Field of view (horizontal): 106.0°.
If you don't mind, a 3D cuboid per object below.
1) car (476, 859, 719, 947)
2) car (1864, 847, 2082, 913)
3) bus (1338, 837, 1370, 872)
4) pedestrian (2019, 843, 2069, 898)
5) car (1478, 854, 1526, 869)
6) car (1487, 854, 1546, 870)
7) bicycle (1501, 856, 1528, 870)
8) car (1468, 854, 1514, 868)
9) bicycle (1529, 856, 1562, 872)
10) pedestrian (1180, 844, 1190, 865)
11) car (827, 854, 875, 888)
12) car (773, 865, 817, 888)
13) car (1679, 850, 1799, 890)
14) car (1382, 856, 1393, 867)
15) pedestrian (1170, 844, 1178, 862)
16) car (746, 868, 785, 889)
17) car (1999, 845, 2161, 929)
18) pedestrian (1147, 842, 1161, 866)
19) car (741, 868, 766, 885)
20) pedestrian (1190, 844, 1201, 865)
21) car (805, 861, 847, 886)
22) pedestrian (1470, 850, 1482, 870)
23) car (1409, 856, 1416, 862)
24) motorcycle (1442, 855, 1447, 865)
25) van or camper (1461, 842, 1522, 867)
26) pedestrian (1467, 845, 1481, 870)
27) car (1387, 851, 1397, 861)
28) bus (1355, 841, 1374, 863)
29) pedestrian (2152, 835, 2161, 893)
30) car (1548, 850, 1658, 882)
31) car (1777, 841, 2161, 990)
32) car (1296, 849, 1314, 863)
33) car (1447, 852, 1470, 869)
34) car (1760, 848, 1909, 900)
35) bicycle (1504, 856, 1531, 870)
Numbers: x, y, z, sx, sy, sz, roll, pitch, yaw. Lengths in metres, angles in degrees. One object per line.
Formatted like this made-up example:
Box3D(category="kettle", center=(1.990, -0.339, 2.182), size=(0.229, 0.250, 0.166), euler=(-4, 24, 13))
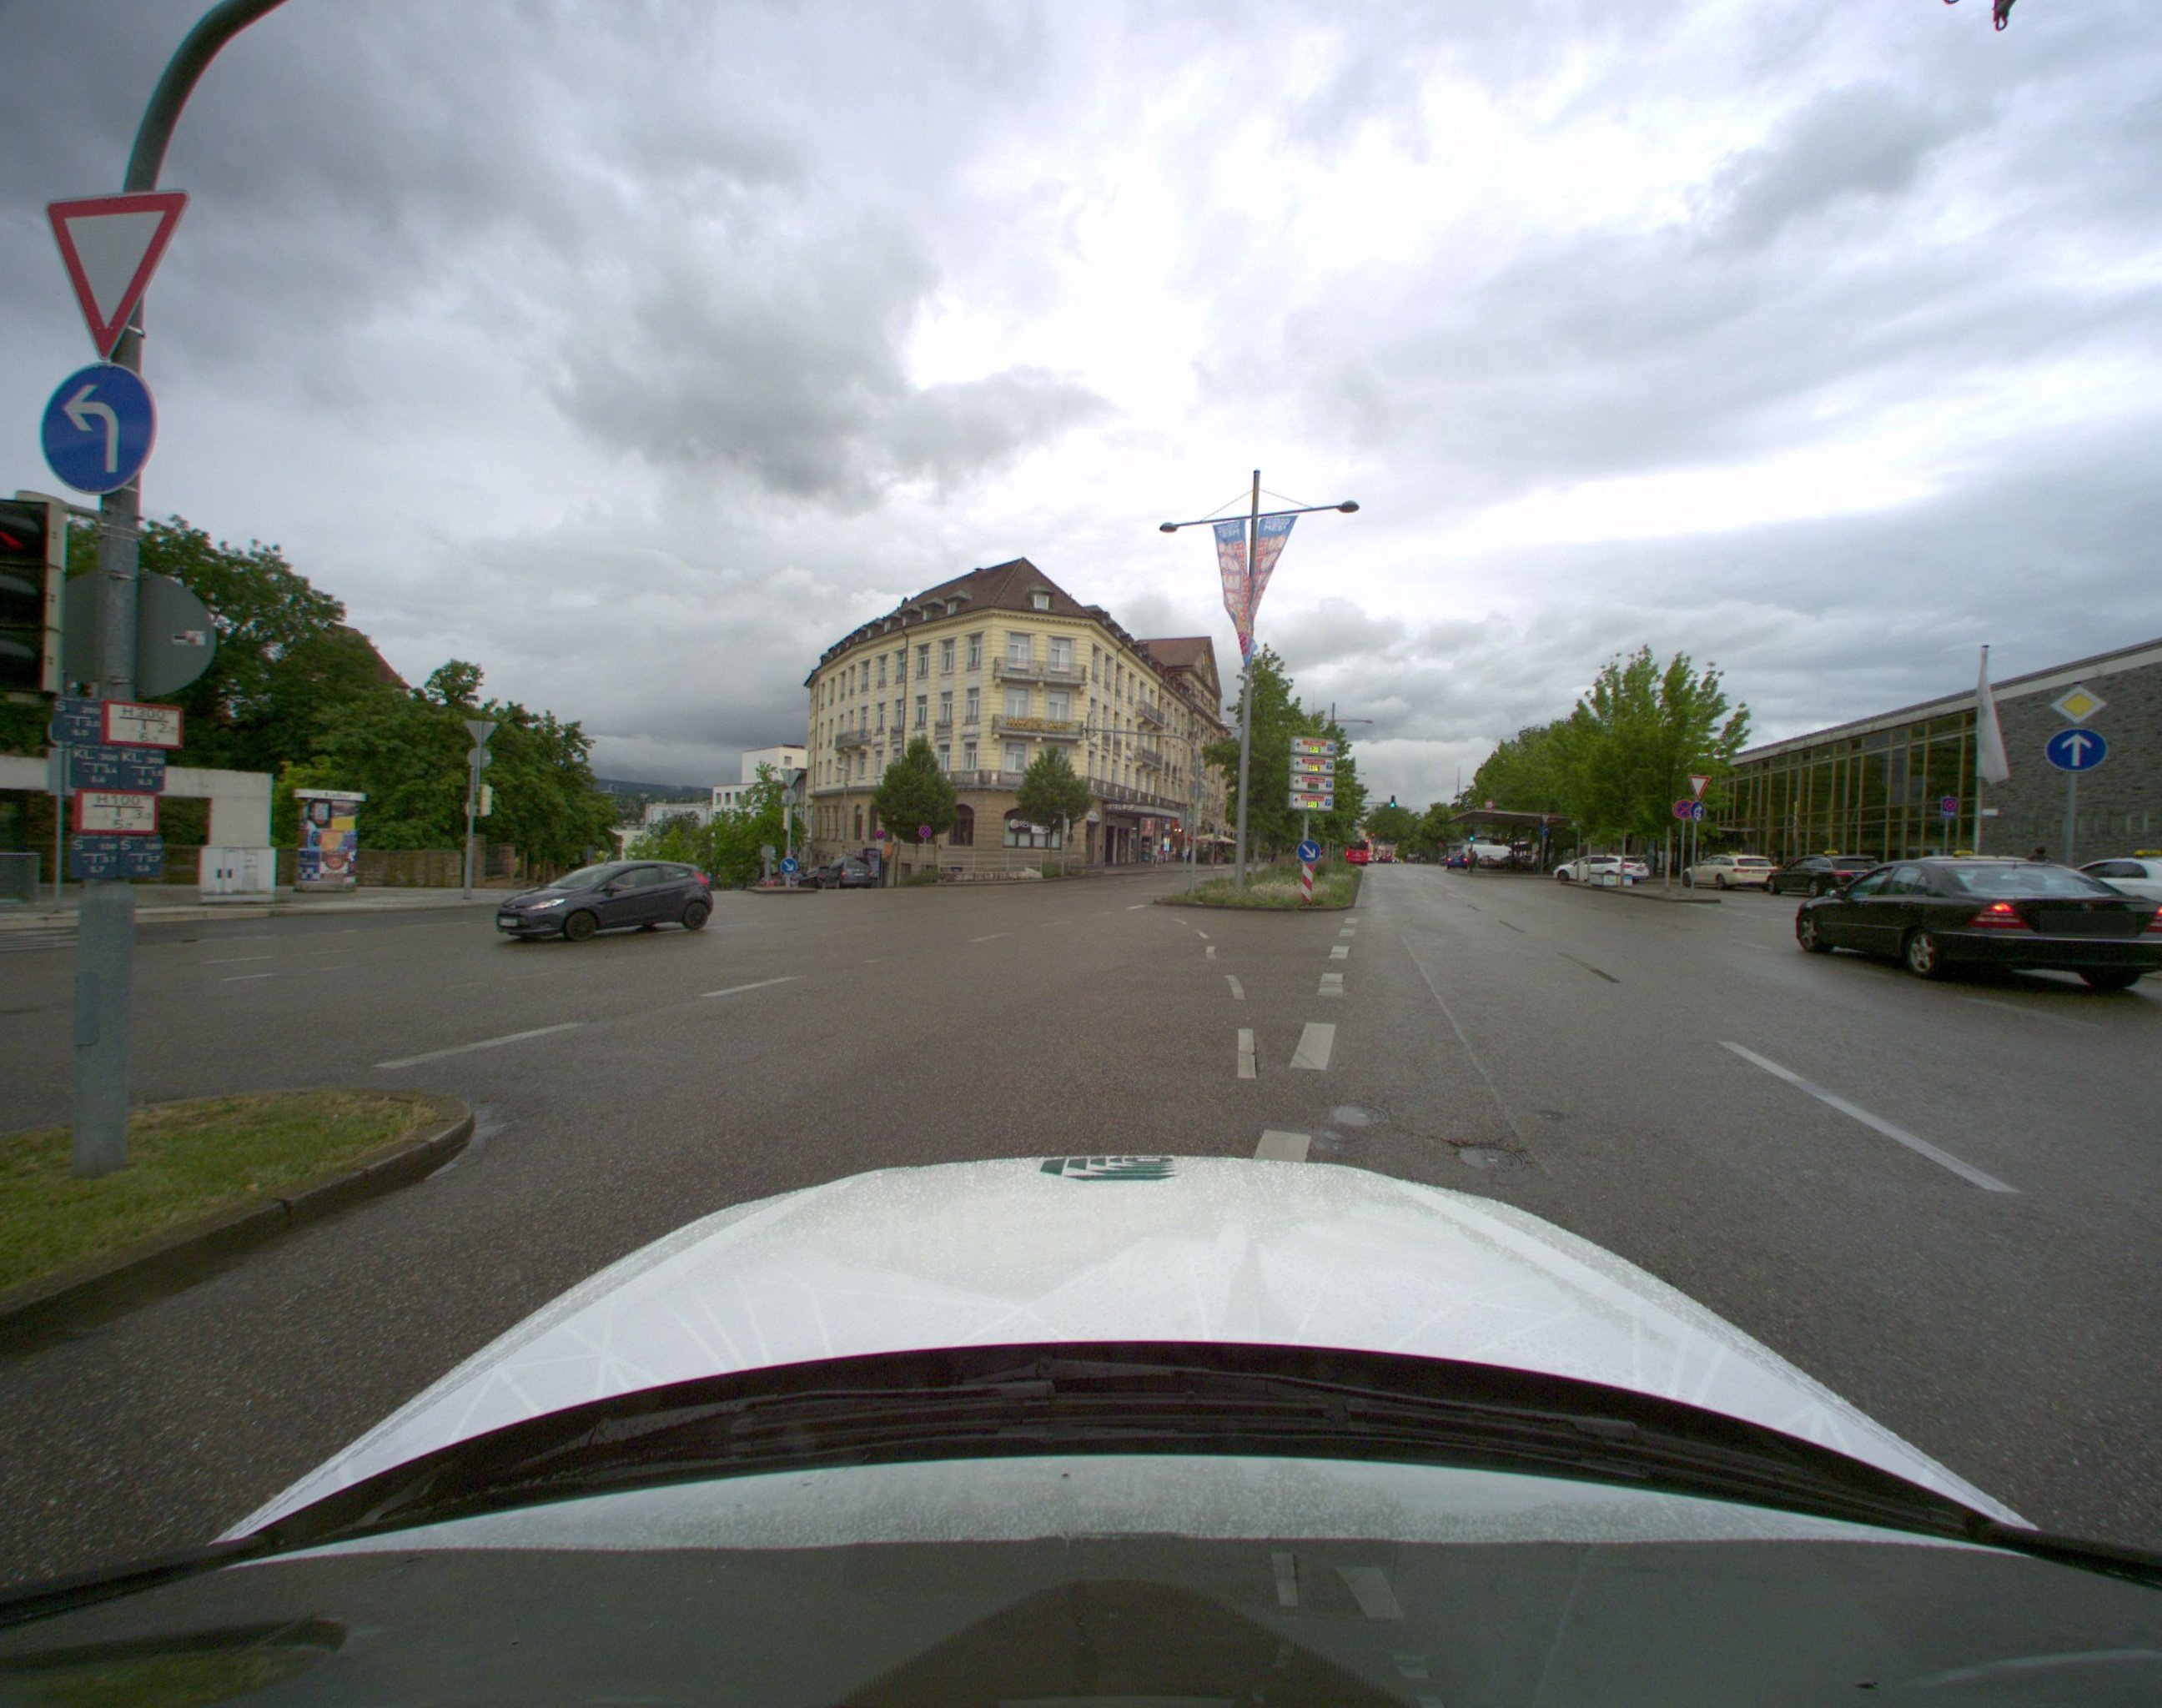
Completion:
Box3D(category="car", center=(-9.332, 0.858, 16.092), size=(1.662, 1.512, 3.884), euler=(-1, 0, 23))
Box3D(category="car", center=(24.187, 0.639, 22.404), size=(1.977, 1.599, 4.983), euler=(0, 0, 20))
Box3D(category="bus", center=(33.636, 0.099, 100.181), size=(3.516, 3.979, 11.225), euler=(0, 0, 19))
Box3D(category="pedestrian", center=(28.598, 0.482, 24.189), size=(0.724, 1.626, 0.791), euler=(0, -1, -24))
Box3D(category="car", center=(42.718, 0.733, 82.741), size=(3.982, 1.443, 1.860), euler=(1, -1, -7))
Box3D(category="car", center=(38.109, 0.679, 71.355), size=(4.171, 1.325, 1.840), euler=(1, -1, 0))
Box3D(category="bicycle", center=(33.096, 0.665, 62.115), size=(1.820, 1.056, 0.420), euler=(0, -1, 2))
Box3D(category="car", center=(42.788, 0.747, 85.064), size=(3.982, 1.443, 1.860), euler=(1, -1, -7))
Box3D(category="bicycle", center=(30.482, 0.669, 53.471), size=(1.812, 1.056, 0.422), euler=(0, -1, 19))
Box3D(category="pedestrian", center=(8.503, 0.057, 66.599), size=(0.675, 1.664, 0.811), euler=(-1, -1, 23))
Box3D(category="car", center=(-12.602, 0.874, 44.526), size=(1.640, 1.759, 3.962), euler=(0, 0, -30))
Box3D(category="car", center=(-19.086, 1.451, 54.221), size=(1.777, 1.478, 3.957), euler=(0, -1, -34))
Box3D(category="car", center=(27.931, 0.636, 34.823), size=(1.980, 1.599, 4.975), euler=(0, 0, 12))
Box3D(category="car", center=(60.323, 1.435, 160.413), size=(1.977, 2.014, 4.020), euler=(0, -1, 20))
Box3D(category="pedestrian", center=(8.473, -0.085, 73.840), size=(0.662, 1.664, 0.538), euler=(0, -1, 11))
Box3D(category="car", center=(-22.887, 1.747, 59.040), size=(1.777, 1.478, 3.967), euler=(0, -1, -34))
Box3D(category="car", center=(22.205, 0.634, 17.032), size=(1.864, 1.599, 4.927), euler=(0, 0, 20))
Box3D(category="pedestrian", center=(5.395, -0.001, 60.166), size=(0.872, 1.813, 0.754), euler=(-1, -1, 20))
Box3D(category="car", center=(-31.241, 2.146, 77.724), size=(1.775, 1.478, 3.963), euler=(0, -1, -29))
Box3D(category="pedestrian", center=(9.308, 0.044, 66.315), size=(0.676, 1.664, 0.811), euler=(-1, -1, 20))
Box3D(category="car", center=(-15.714, 1.166, 50.121), size=(1.640, 1.398, 3.962), euler=(0, 0, -30))
Box3D(category="pedestrian", center=(35.670, 0.553, 73.486), size=(0.849, 1.835, 1.196), euler=(0, -1, 20))
Box3D(category="car", center=(84.212, 1.196, 206.690), size=(1.581, 1.560, 3.668), euler=(0, 0, 20))
Box3D(category="motorcycle", center=(48.057, 0.777, 107.669), size=(0.590, 1.288, 1.965), euler=(0, 0, 26))
Box3D(category="van or camper", center=(45.603, 0.048, 90.521), size=(5.941, 2.763, 2.193), euler=(0, -1, -7))
Box3D(category="pedestrian", center=(28.339, 0.259, 58.703), size=(0.741, 1.747, 0.839), euler=(0, -1, 12))
Box3D(category="car", center=(66.722, 0.424, 174.558), size=(1.977, 2.014, 4.020), euler=(0, -1, 20))
Box3D(category="bus", center=(49.940, -0.303, 143.552), size=(2.783, 3.747, 10.493), euler=(-2, -1, 18))
Box3D(category="pedestrian", center=(29.871, 0.277, 22.051), size=(0.762, 1.580, 0.714), euler=(0, -1, 16))
Box3D(category="car", center=(26.948, 0.602, 42.230), size=(1.763, 1.546, 4.746), euler=(1, 0, -19))
Box3D(category="car", center=(10.897, 0.619, 10.332), size=(1.680, 1.465, 4.474), euler=(0, 0, 20))
Box3D(category="car", center=(33.024, 0.297, 120.181), size=(1.976, 2.014, 5.027), euler=(-1, -1, 22))
Box3D(category="car", center=(35.108, 0.622, 75.765), size=(1.842, 1.569, 4.022), euler=(1, 0, 24))
Box3D(category="car", center=(26.246, 0.626, 28.636), size=(1.977, 1.599, 4.982), euler=(1, 1, 19))
Box3D(category="bicycle", center=(33.033, 0.664, 61.655), size=(1.820, 1.056, 0.420), euler=(0, -1, 2))
